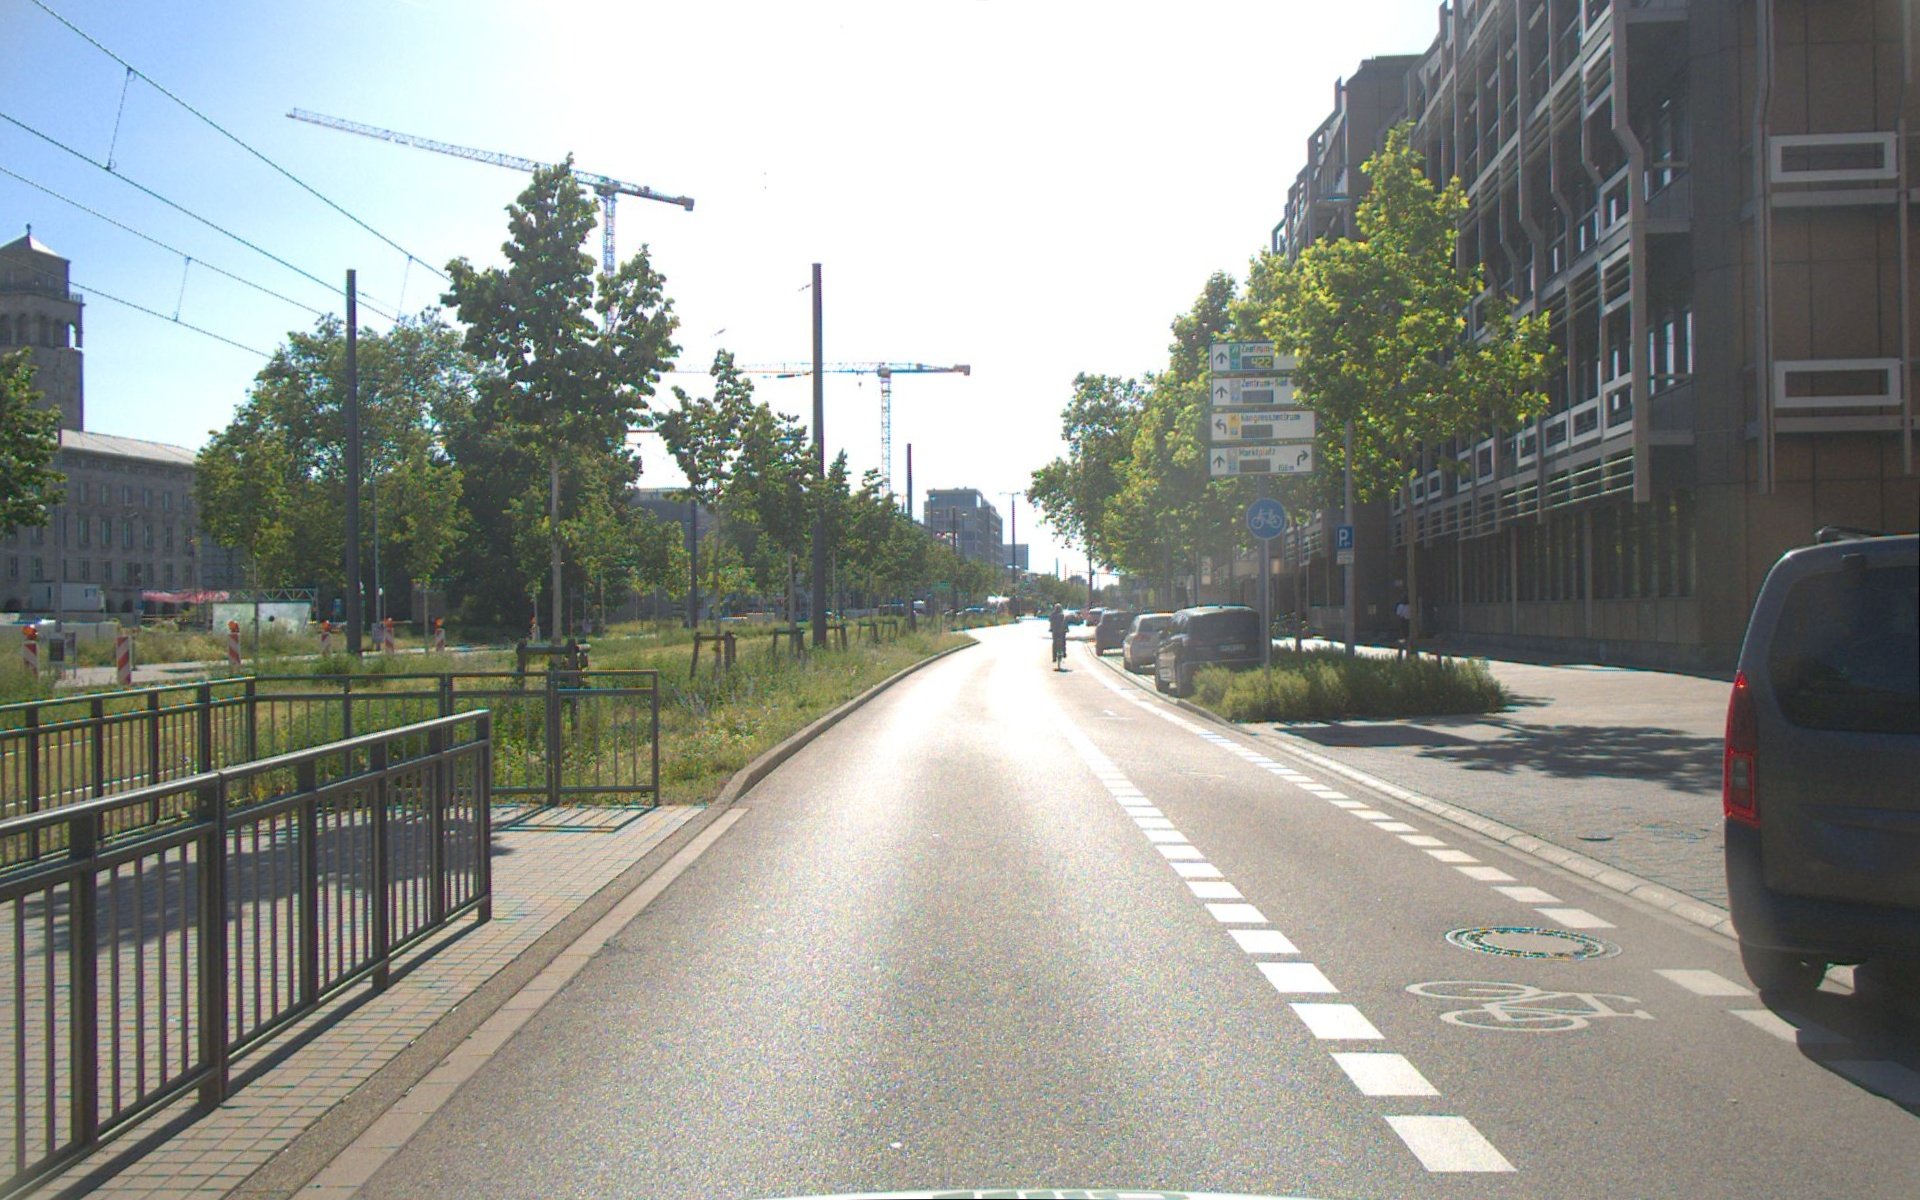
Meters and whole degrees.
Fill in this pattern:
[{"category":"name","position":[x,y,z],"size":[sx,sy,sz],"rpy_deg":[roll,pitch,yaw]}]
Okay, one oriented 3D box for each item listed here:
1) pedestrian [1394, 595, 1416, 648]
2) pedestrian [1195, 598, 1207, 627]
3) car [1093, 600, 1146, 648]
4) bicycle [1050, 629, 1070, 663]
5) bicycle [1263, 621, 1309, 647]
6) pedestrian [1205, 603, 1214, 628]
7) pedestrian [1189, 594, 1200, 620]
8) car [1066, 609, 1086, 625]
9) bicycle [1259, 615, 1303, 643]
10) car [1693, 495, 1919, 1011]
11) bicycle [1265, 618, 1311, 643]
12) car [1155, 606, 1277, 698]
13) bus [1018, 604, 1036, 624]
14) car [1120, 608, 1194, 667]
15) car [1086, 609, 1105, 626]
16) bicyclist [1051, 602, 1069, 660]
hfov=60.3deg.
[{"category":"pedestrian","position":[14.206,0.684,52.849],"size":[0.500,1.651,0.674],"rpy_deg":[-3,-1,5]},{"category":"pedestrian","position":[14.591,0.754,100.194],"size":[0.634,1.758,0.804],"rpy_deg":[0,-1,5]},{"category":"car","position":[6.100,0.896,63.586],"size":[1.810,1.686,4.850],"rpy_deg":[-2,0,3]},{"category":"bicycle","position":[2.835,1.306,47.081],"size":[0.487,0.921,2.197],"rpy_deg":[1,0,2]},{"category":"bicycle","position":[13.816,1.429,70.116],"size":[1.818,1.028,0.427],"rpy_deg":[-3,-1,7]},{"category":"pedestrian","position":[16.980,1.050,112.664],"size":[0.500,1.730,0.774],"rpy_deg":[-3,-1,5]},{"category":"pedestrian","position":[13.369,0.404,94.218],"size":[0.500,1.500,0.736],"rpy_deg":[-2,-1,5]},{"category":"car","position":[11.462,1.662,163.362],"size":[1.871,1.513,4.012],"rpy_deg":[0,0,5]},{"category":"bicycle","position":[13.925,1.262,71.777],"size":[1.818,1.117,0.427],"rpy_deg":[-3,-1,7]},{"category":"car","position":[4.829,0.527,7.143],"size":[1.786,1.783,4.140],"rpy_deg":[-1,-1,43]},{"category":"bicycle","position":[13.700,1.295,69.144],"size":[1.818,0.955,0.427],"rpy_deg":[-3,-1,7]},{"category":"car","position":[5.014,0.986,32.949],"size":[1.712,1.688,4.469],"rpy_deg":[-1,-1,0]},{"category":"bus","position":[10.700,2.231,263.684],"size":[2.572,3.011,9.902],"rpy_deg":[2,-1,4]},{"category":"car","position":[5.320,0.988,45.066],"size":[1.584,1.490,4.156],"rpy_deg":[-2,0,1]},{"category":"car","position":[13.099,1.665,159.770],"size":[1.685,1.646,4.189],"rpy_deg":[0,0,8]},{"category":"bicyclist","position":[2.837,0.879,46.944],"size":[0.502,1.629,0.536],"rpy_deg":[-1,-1,1]}]
